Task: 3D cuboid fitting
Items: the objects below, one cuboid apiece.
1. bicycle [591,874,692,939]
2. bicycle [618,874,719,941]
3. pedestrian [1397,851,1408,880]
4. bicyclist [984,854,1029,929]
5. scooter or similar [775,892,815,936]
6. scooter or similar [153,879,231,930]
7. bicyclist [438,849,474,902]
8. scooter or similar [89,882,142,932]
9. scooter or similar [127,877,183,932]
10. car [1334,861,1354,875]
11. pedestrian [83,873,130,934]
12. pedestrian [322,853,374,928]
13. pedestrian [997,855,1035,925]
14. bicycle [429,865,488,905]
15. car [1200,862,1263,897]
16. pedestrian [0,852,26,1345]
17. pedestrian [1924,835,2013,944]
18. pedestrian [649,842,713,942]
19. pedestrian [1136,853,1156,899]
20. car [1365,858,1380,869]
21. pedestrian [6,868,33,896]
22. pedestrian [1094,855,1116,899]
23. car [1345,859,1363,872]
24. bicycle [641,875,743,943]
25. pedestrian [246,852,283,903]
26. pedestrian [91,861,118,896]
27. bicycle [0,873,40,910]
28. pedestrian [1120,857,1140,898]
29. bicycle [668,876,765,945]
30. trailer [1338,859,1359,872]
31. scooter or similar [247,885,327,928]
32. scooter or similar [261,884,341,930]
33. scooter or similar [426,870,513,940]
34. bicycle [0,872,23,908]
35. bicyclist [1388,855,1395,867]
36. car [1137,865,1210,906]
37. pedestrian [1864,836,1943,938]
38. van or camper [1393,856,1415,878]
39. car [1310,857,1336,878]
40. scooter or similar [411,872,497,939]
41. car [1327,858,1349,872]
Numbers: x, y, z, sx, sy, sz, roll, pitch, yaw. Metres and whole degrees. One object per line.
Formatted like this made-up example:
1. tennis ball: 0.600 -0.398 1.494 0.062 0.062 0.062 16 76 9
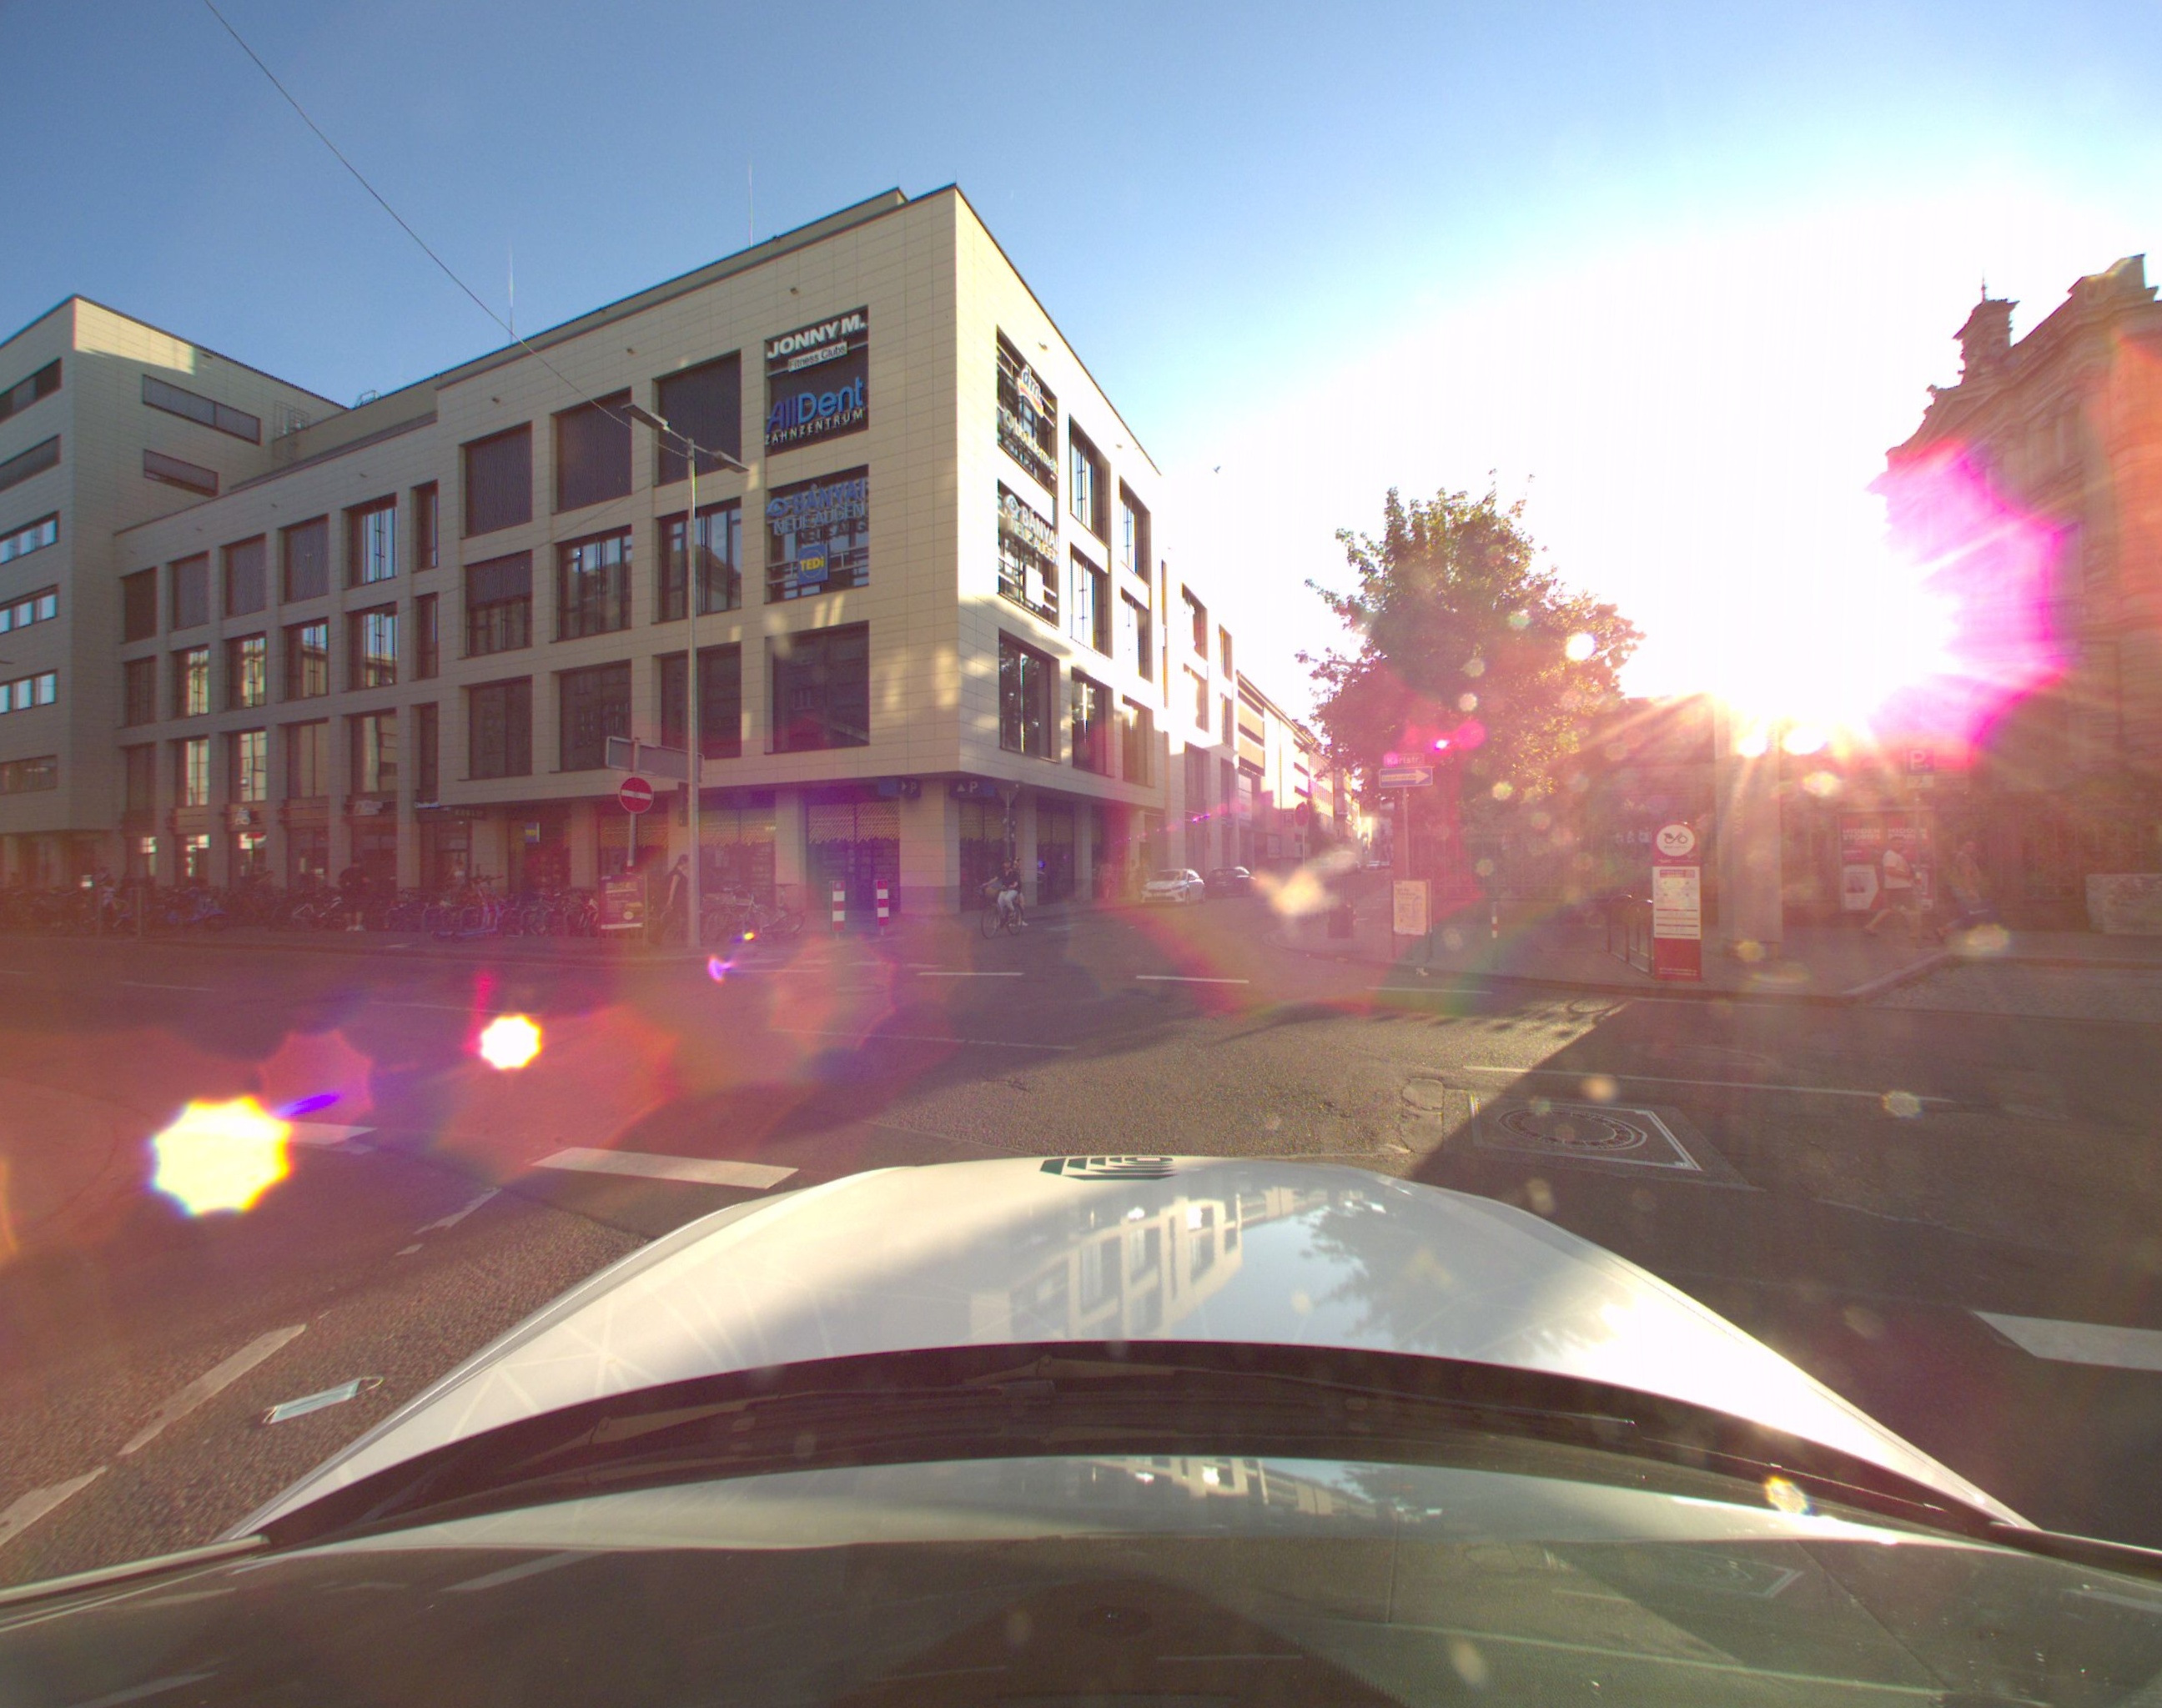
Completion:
1. bicycle: -9.109 1.062 16.990 0.507 1.255 1.989 0 -1 21
2. bicycle: -8.398 1.057 16.672 0.507 1.255 1.989 0 -1 22
3. pedestrian: 18.811 0.657 47.710 0.480 1.658 0.621 -2 -1 16
4. bicyclist: -1.604 0.791 17.624 0.653 1.570 0.867 0 -1 19
5. scooter or similar: -6.060 1.269 17.287 0.383 0.884 0.774 0 -1 22
6. scooter or similar: -22.938 1.284 21.038 0.383 1.242 1.277 0 -1 22
7. bicyclist: -20.333 0.684 26.500 0.636 1.695 0.688 0 0 23
8. scooter or similar: -23.789 1.298 20.060 1.255 1.181 0.519 0 -1 26
9. scooter or similar: -21.943 1.184 19.297 1.255 1.242 0.519 0 -1 26
10. car: 29.379 1.572 90.951 1.867 1.453 4.021 0 0 22
11. pedestrian: -27.842 1.396 23.266 0.636 1.695 0.688 0 0 22
12. pedestrian: -16.948 0.835 18.827 0.636 1.695 0.688 0 -1 26
13. pedestrian: -1.660 0.891 20.679 0.640 1.723 0.837 0 -1 -32
14. bicycle: -20.222 1.004 26.455 1.955 1.255 0.616 0 -1 22
15. car: 7.433 1.191 39.956 1.866 1.598 4.716 0 0 25
16. pedestrian: -3.723 0.796 2.247 0.808 1.613 0.726 0 -1 -37
17. pedestrian: 13.989 0.538 12.858 0.699 1.670 0.644 0 1 9
18. pedestrian: -6.833 0.627 13.939 0.871 1.658 0.615 0 -1 -15
19. pedestrian: 2.627 0.875 32.934 0.666 1.836 0.651 0 -1 21
20. car: 46.698 1.498 130.426 1.976 1.684 4.022 0 -1 24
21. pedestrian: -54.081 1.428 41.484 0.636 1.425 0.688 0 0 22
22. pedestrian: 0.966 0.904 32.781 0.666 1.744 0.651 -1 -1 23
23. car: 33.120 1.400 98.778 1.867 1.453 4.021 0 0 22
24. bicycle: -7.739 1.063 16.309 0.507 1.255 1.990 0 -1 24
25. pedestrian: -27.514 0.795 27.453 0.636 1.695 0.688 0 0 22
26. pedestrian: -48.623 1.214 40.569 0.636 1.695 0.688 0 0 22
27. bicycle: -37.373 1.300 27.928 0.508 1.255 1.986 0 -1 15
28. pedestrian: 1.990 0.941 33.180 0.666 1.675 0.651 0 -1 21
29. bicycle: -7.158 1.072 16.100 0.507 1.255 1.988 0 -1 20
30. trailer: 31.113 1.333 94.731 1.976 1.557 4.021 0 -1 22
31. scooter or similar: -18.578 1.219 19.091 0.383 0.942 1.277 0 -1 22
32. scooter or similar: -17.978 1.195 18.791 0.383 0.992 1.277 0 -1 22
33. scooter or similar: -11.531 0.929 15.395 0.383 1.260 1.277 0 -1 22
34. bicycle: -38.359 1.275 28.218 0.508 1.255 1.986 0 -1 15
35. bicyclist: 47.890 1.029 125.615 0.981 1.869 0.712 0 -1 25
36. car: 3.687 1.173 31.860 1.762 1.453 4.253 0 0 22
37. pedestrian: 13.854 0.535 13.736 0.699 1.670 0.644 0 1 9
38. van or camper: 41.377 1.621 104.200 2.238 2.607 5.140 -5 -3 23
39. car: 22.466 1.230 75.573 1.867 1.912 4.773 0 0 22
40. scooter or similar: -12.043 0.964 15.672 0.383 1.212 1.277 0 -1 22
41. car: 27.170 1.123 86.029 1.867 1.453 4.021 0 0 22
